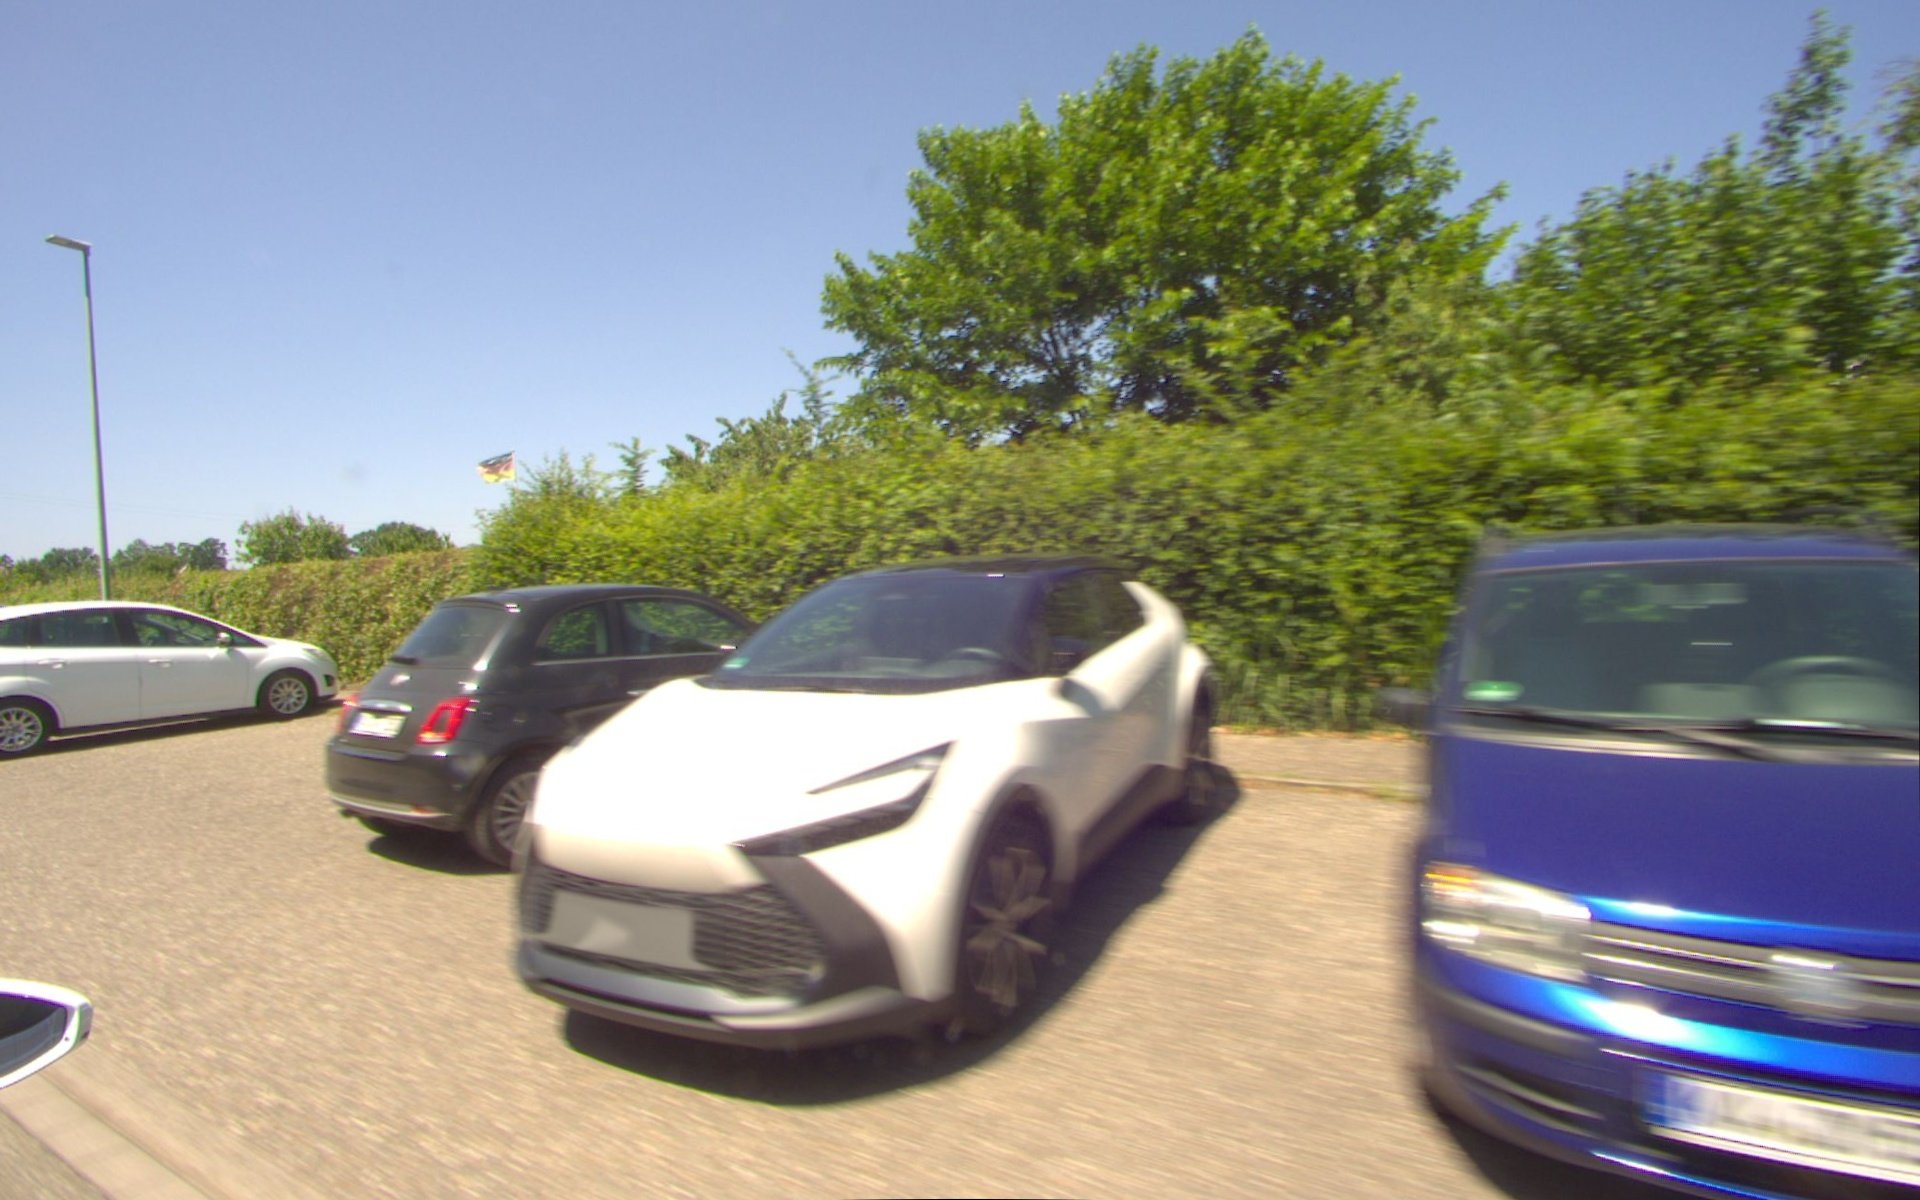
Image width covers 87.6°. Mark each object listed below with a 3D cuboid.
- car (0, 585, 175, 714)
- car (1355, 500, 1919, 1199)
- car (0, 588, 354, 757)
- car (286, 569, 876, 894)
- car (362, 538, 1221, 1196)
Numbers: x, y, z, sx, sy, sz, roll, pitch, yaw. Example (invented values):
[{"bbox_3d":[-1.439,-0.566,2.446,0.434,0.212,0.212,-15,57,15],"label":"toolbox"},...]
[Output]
[{"bbox_3d":[-15.152,0.816,15.332,1.923,1.829,4.445,-2,2,28],"label":"car"},{"bbox_3d":[2.289,0.497,3.248,1.515,1.548,3.446,-1,4,27],"label":"car"},{"bbox_3d":[-9.978,0.765,11.997,1.739,1.600,4.266,-1,3,30],"label":"car"},{"bbox_3d":[-2.275,0.615,6.747,1.567,1.525,3.375,0,3,35],"label":"car"},{"bbox_3d":[-0.175,0.570,4.592,1.835,1.544,3.956,-1,4,27],"label":"car"}]
